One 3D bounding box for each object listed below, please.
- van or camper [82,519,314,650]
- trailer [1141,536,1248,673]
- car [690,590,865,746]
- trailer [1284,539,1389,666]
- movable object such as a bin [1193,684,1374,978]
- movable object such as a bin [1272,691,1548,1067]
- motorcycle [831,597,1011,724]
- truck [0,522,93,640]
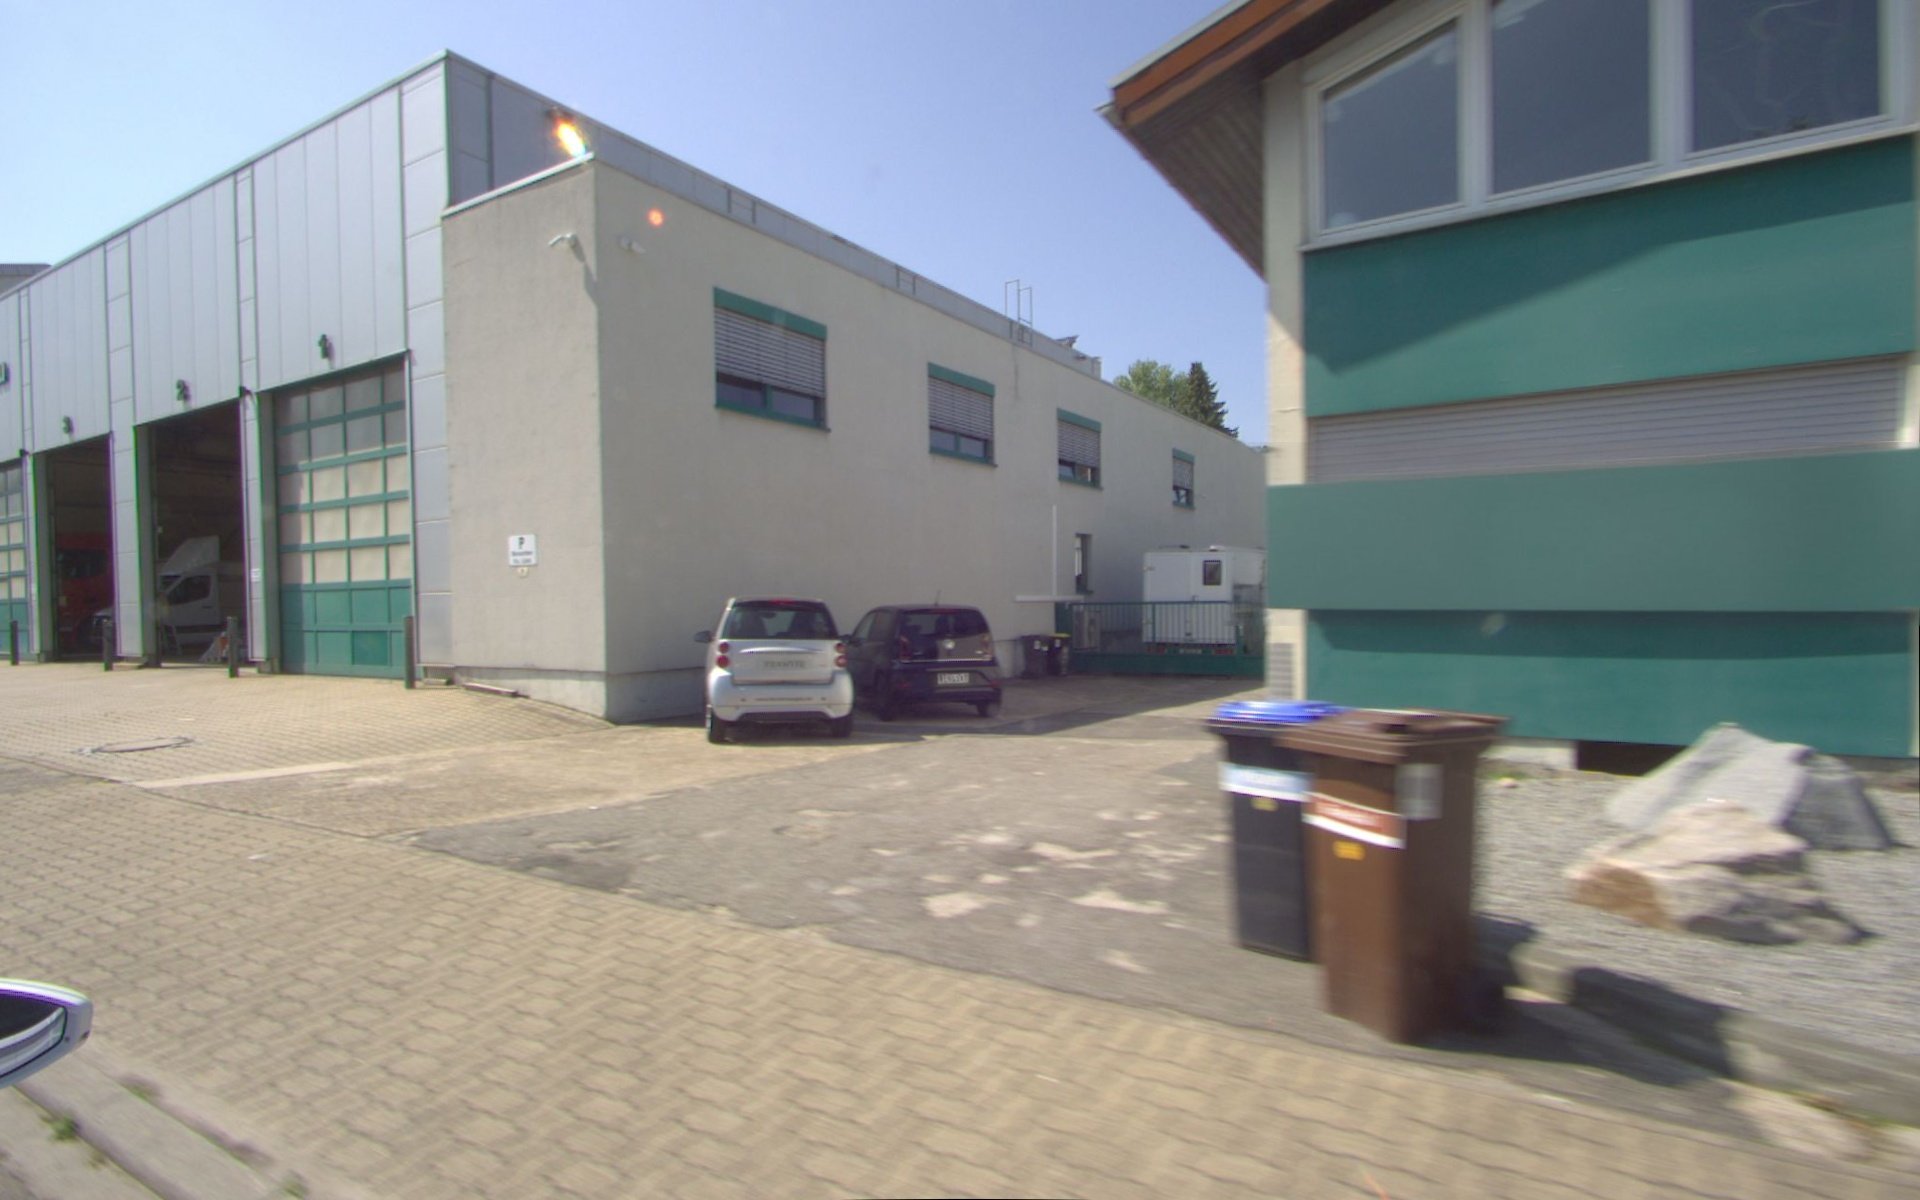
[{"bbox_3d":[-21.164,-0.405,28.063,1.969,3.332,4.750,0,0,29],"label":"van or camper"},{"bbox_3d":[5.609,0.074,23.608,2.011,2.912,4.128,1,1,19],"label":"trailer"},{"bbox_3d":[-2.360,0.685,12.237,1.747,1.560,3.696,-1,1,-16],"label":"car"},{"bbox_3d":[9.602,0.036,25.342,2.015,2.912,4.121,1,1,27],"label":"trailer"},{"bbox_3d":[1.238,0.831,3.821,0.482,0.959,0.510,0,2,44],"label":"movable object such as a bin"},{"bbox_3d":[1.384,0.801,3.117,0.560,0.959,0.555,-2,1,-24],"label":"movable object such as a bin"},{"bbox_3d":[-0.687,0.739,14.259,1.747,1.512,3.602,-1,1,-16],"label":"motorcycle"},{"bbox_3d":[-31.973,-0.515,30.819,2.723,3.697,7.350,0,3,26],"label":"truck"}]
